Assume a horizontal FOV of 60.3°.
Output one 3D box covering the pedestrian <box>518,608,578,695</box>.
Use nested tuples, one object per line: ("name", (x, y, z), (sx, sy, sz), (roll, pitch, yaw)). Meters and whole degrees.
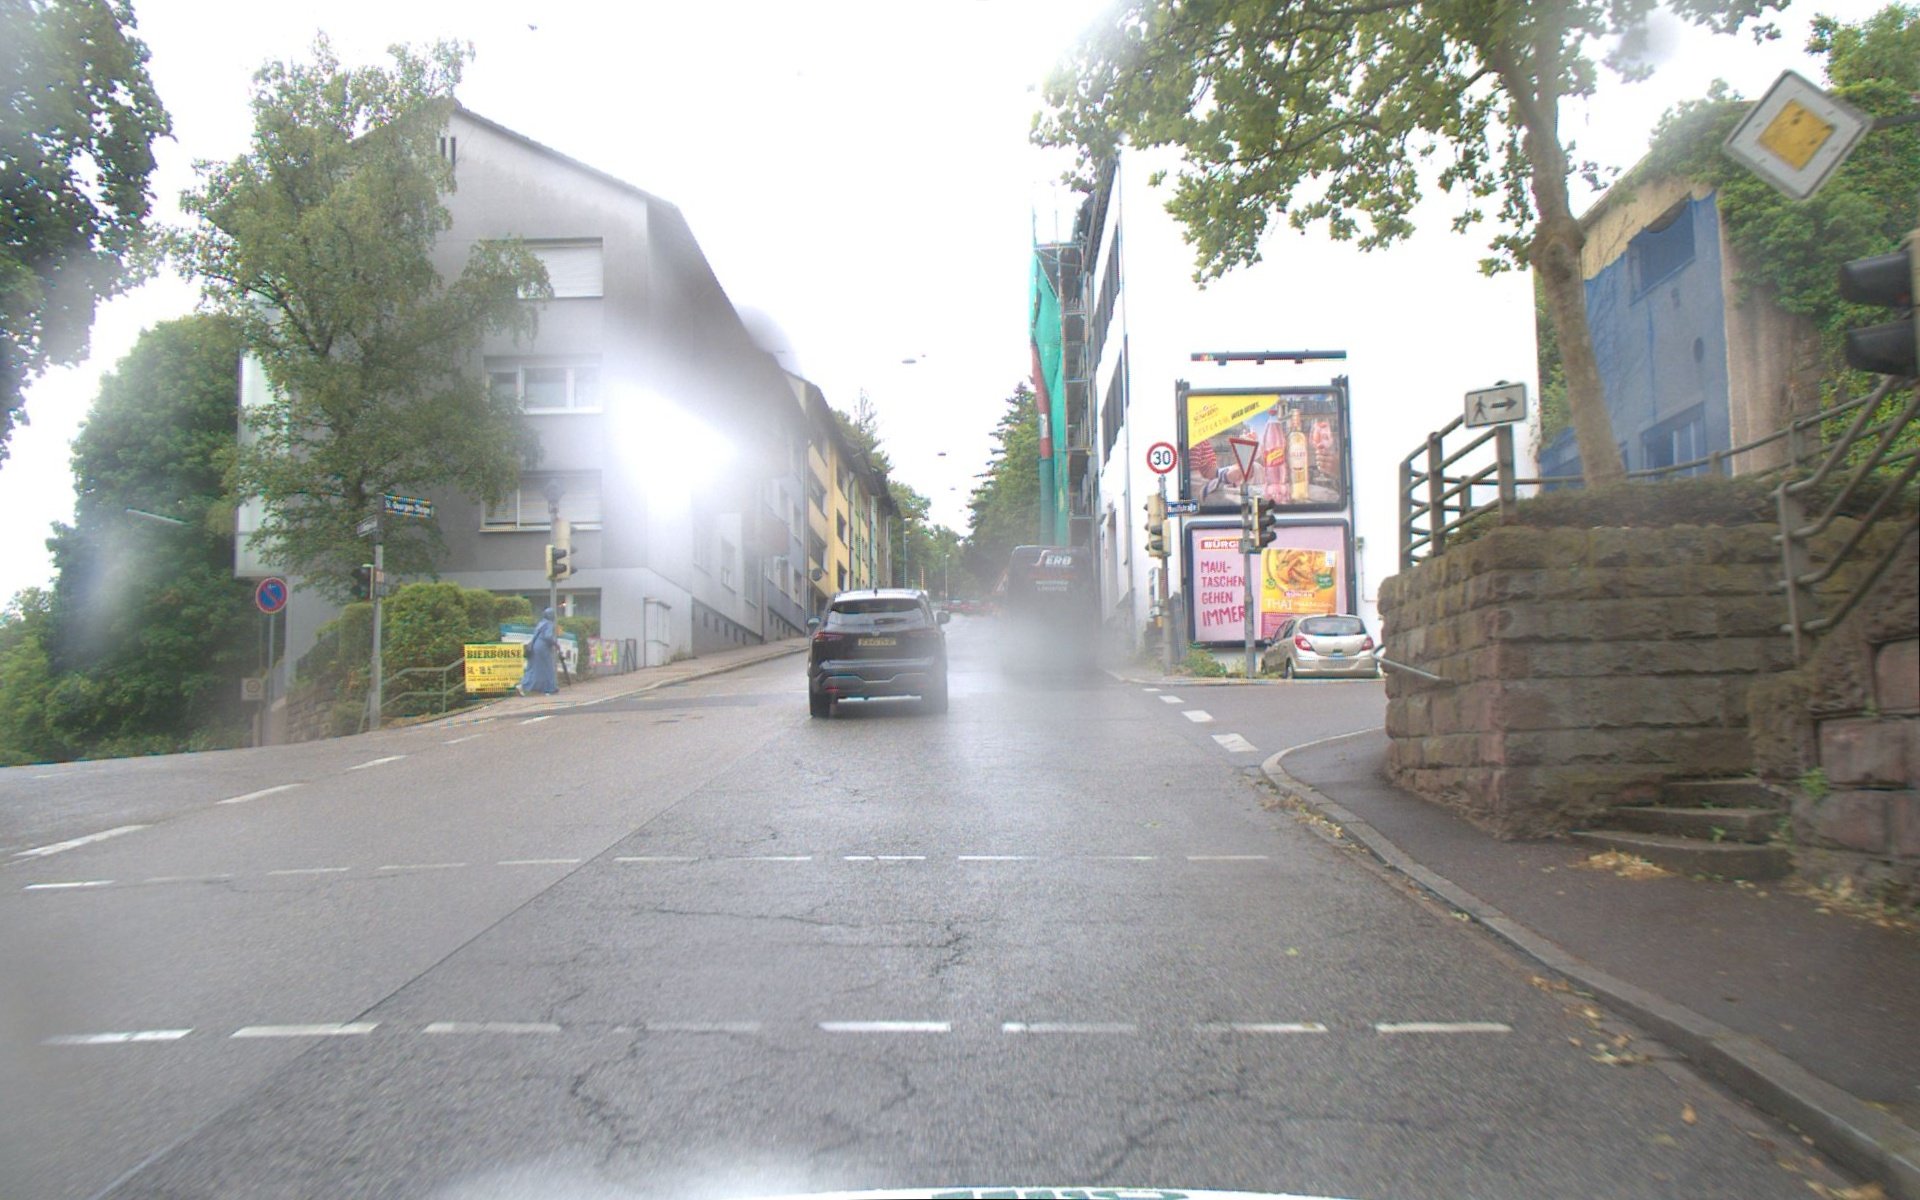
("pedestrian", (-7.539, 0.945, 30.315), (0.852, 1.568, 1.087), (0, -2, -2))

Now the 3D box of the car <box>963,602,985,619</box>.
("car", (1.339, 0.975, 158.316), (2.032, 1.587, 3.999), (-1, 0, -1))

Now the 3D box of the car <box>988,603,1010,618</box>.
("car", (4.096, 1.092, 172.878), (2.033, 1.587, 3.998), (-1, 0, -2))

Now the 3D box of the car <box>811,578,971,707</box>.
("car", (-0.844, 0.510, 22.489), (1.952, 1.587, 4.000), (0, 0, 1))

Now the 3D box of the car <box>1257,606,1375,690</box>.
("car", (7.047, 0.910, 33.092), (1.530, 1.510, 4.000), (0, 0, 0))

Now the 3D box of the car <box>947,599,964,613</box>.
("car", (-0.541, 0.674, 193.709), (2.032, 1.587, 3.999), (-1, 0, 0))

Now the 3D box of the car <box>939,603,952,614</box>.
("car", (-2.165, 1.298, 248.201), (2.032, 1.587, 3.999), (-1, 0, 0))

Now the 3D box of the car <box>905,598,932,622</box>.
("car", (-3.235, 0.774, 129.702), (1.950, 1.786, 4.479), (-2, 0, 0))

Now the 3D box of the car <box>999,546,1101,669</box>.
("car", (1.863, 0.266, 35.820), (1.952, 2.456, 5.836), (0, -2, 1))

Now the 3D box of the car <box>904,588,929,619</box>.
("car", (-3.649, 0.311, 139.401), (1.950, 2.518, 5.783), (-2, 0, 0))
